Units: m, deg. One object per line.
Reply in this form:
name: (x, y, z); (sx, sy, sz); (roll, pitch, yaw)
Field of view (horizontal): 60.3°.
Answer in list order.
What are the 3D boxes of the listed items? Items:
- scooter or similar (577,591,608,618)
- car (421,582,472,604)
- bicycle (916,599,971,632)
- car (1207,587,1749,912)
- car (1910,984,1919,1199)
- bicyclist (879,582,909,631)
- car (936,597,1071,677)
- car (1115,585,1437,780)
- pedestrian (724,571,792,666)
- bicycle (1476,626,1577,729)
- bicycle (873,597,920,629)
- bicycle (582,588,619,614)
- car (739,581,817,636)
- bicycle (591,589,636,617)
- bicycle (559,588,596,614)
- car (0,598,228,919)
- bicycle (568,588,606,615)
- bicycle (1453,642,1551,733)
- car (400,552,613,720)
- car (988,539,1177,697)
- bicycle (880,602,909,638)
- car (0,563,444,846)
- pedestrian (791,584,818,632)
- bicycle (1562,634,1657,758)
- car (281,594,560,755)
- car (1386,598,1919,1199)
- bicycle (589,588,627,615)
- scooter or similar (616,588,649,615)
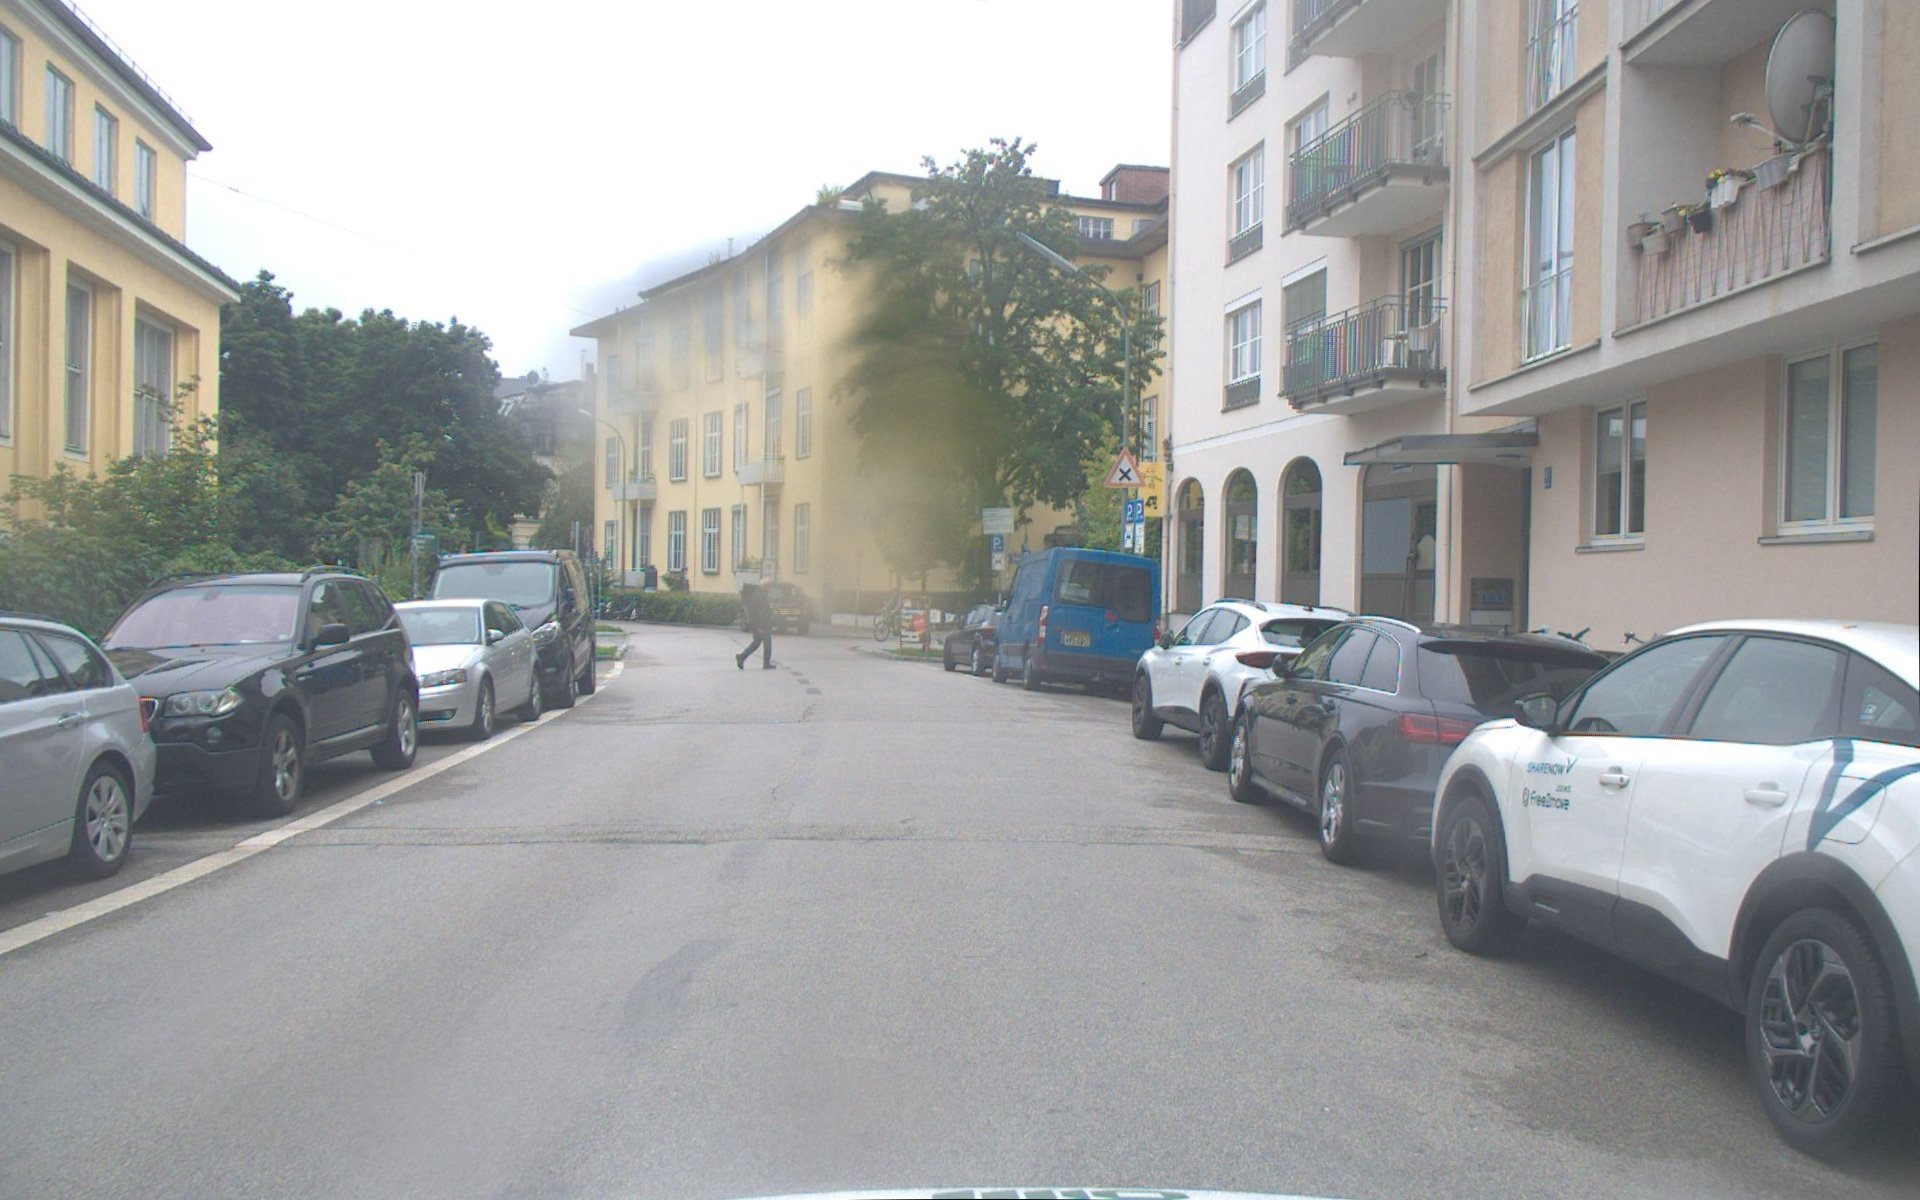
scooter or similar: (-18.774, 0.215, 84.567); (0.717, 1.328, 1.730); (1, 0, 21)
car: (-32.506, -0.444, 104.596); (1.977, 1.396, 3.951); (1, 0, -35)
bicycle: (-0.633, 0.591, 64.454); (2.023, 1.222, 0.596); (1, 0, 12)
car: (3.099, 0.765, 11.229); (1.842, 1.548, 5.162); (4, 1, -2)
car: (3.128, 0.859, 1.252); (1.711, 1.412, 4.950); (3, 0, -4)
bicyclist: (-2.247, 0.233, 56.288); (0.847, 1.636, 0.944); (1, 0, -11)
car: (0.826, 0.725, 34.323); (1.648, 1.413, 4.290); (5, -1, -13)
car: (2.947, 0.696, 16.549); (1.751, 1.560, 4.641); (4, 0, -7)
pedestrian: (-3.969, 0.384, 32.551); (0.918, 1.832, 0.951); (-2, -3, 41)
bicycle: (6.805, 0.903, 19.947); (0.446, 1.130, 1.852); (1, 0, -4)
bicycle: (-2.519, 0.497, 65.577); (1.889, 1.222, 0.593); (2, 0, 35)
bicycle: (-18.302, 0.041, 84.268); (0.717, 1.328, 2.155); (1, 0, 25)
car: (-7.130, 0.304, 64.470); (1.739, 1.907, 4.348); (5, -1, -23)
bicycle: (-17.078, 0.143, 81.490); (0.721, 1.328, 2.143); (1, 0, 42)
bicycle: (-19.805, 0.040, 85.656); (0.717, 1.328, 2.155); (1, 0, 25)
car: (-5.201, 0.765, 7.552); (1.619, 1.439, 4.770); (-2, 1, -1)
bicycle: (-19.160, 0.084, 85.073); (0.717, 1.328, 2.155); (1, 0, 25)
bicycle: (6.308, 1.001, 19.314); (0.446, 0.939, 1.734); (1, 0, -4)
car: (-6.083, 0.428, 22.839); (2.033, 1.998, 5.341); (-1, 0, -7)
car: (1.951, 0.310, 28.206); (2.040, 2.272, 5.235); (5, -1, -8)
bicycle: (-2.230, 0.670, 56.154); (0.658, 1.179, 1.998); (1, 0, -11)
car: (-5.311, 0.617, 12.309); (1.663, 1.671, 4.488); (-2, 1, -3)
pedestrian: (-6.087, 0.295, 64.713); (0.862, 1.855, 0.793); (1, 0, -22)
bicycle: (6.479, 0.933, 16.558); (0.370, 1.139, 1.392); (1, 0, -1)
car: (-5.549, 0.685, 17.609); (1.660, 1.417, 4.498); (-1, 1, -3)
car: (3.171, 0.815, 6.197); (1.661, 1.515, 4.577); (3, 0, -4)
bicycle: (-17.758, 0.067, 83.503); (0.717, 1.328, 2.155); (1, 0, 25)
scooter or similar: (-15.994, 0.067, 80.769); (0.716, 1.328, 2.158); (1, 0, 13)
